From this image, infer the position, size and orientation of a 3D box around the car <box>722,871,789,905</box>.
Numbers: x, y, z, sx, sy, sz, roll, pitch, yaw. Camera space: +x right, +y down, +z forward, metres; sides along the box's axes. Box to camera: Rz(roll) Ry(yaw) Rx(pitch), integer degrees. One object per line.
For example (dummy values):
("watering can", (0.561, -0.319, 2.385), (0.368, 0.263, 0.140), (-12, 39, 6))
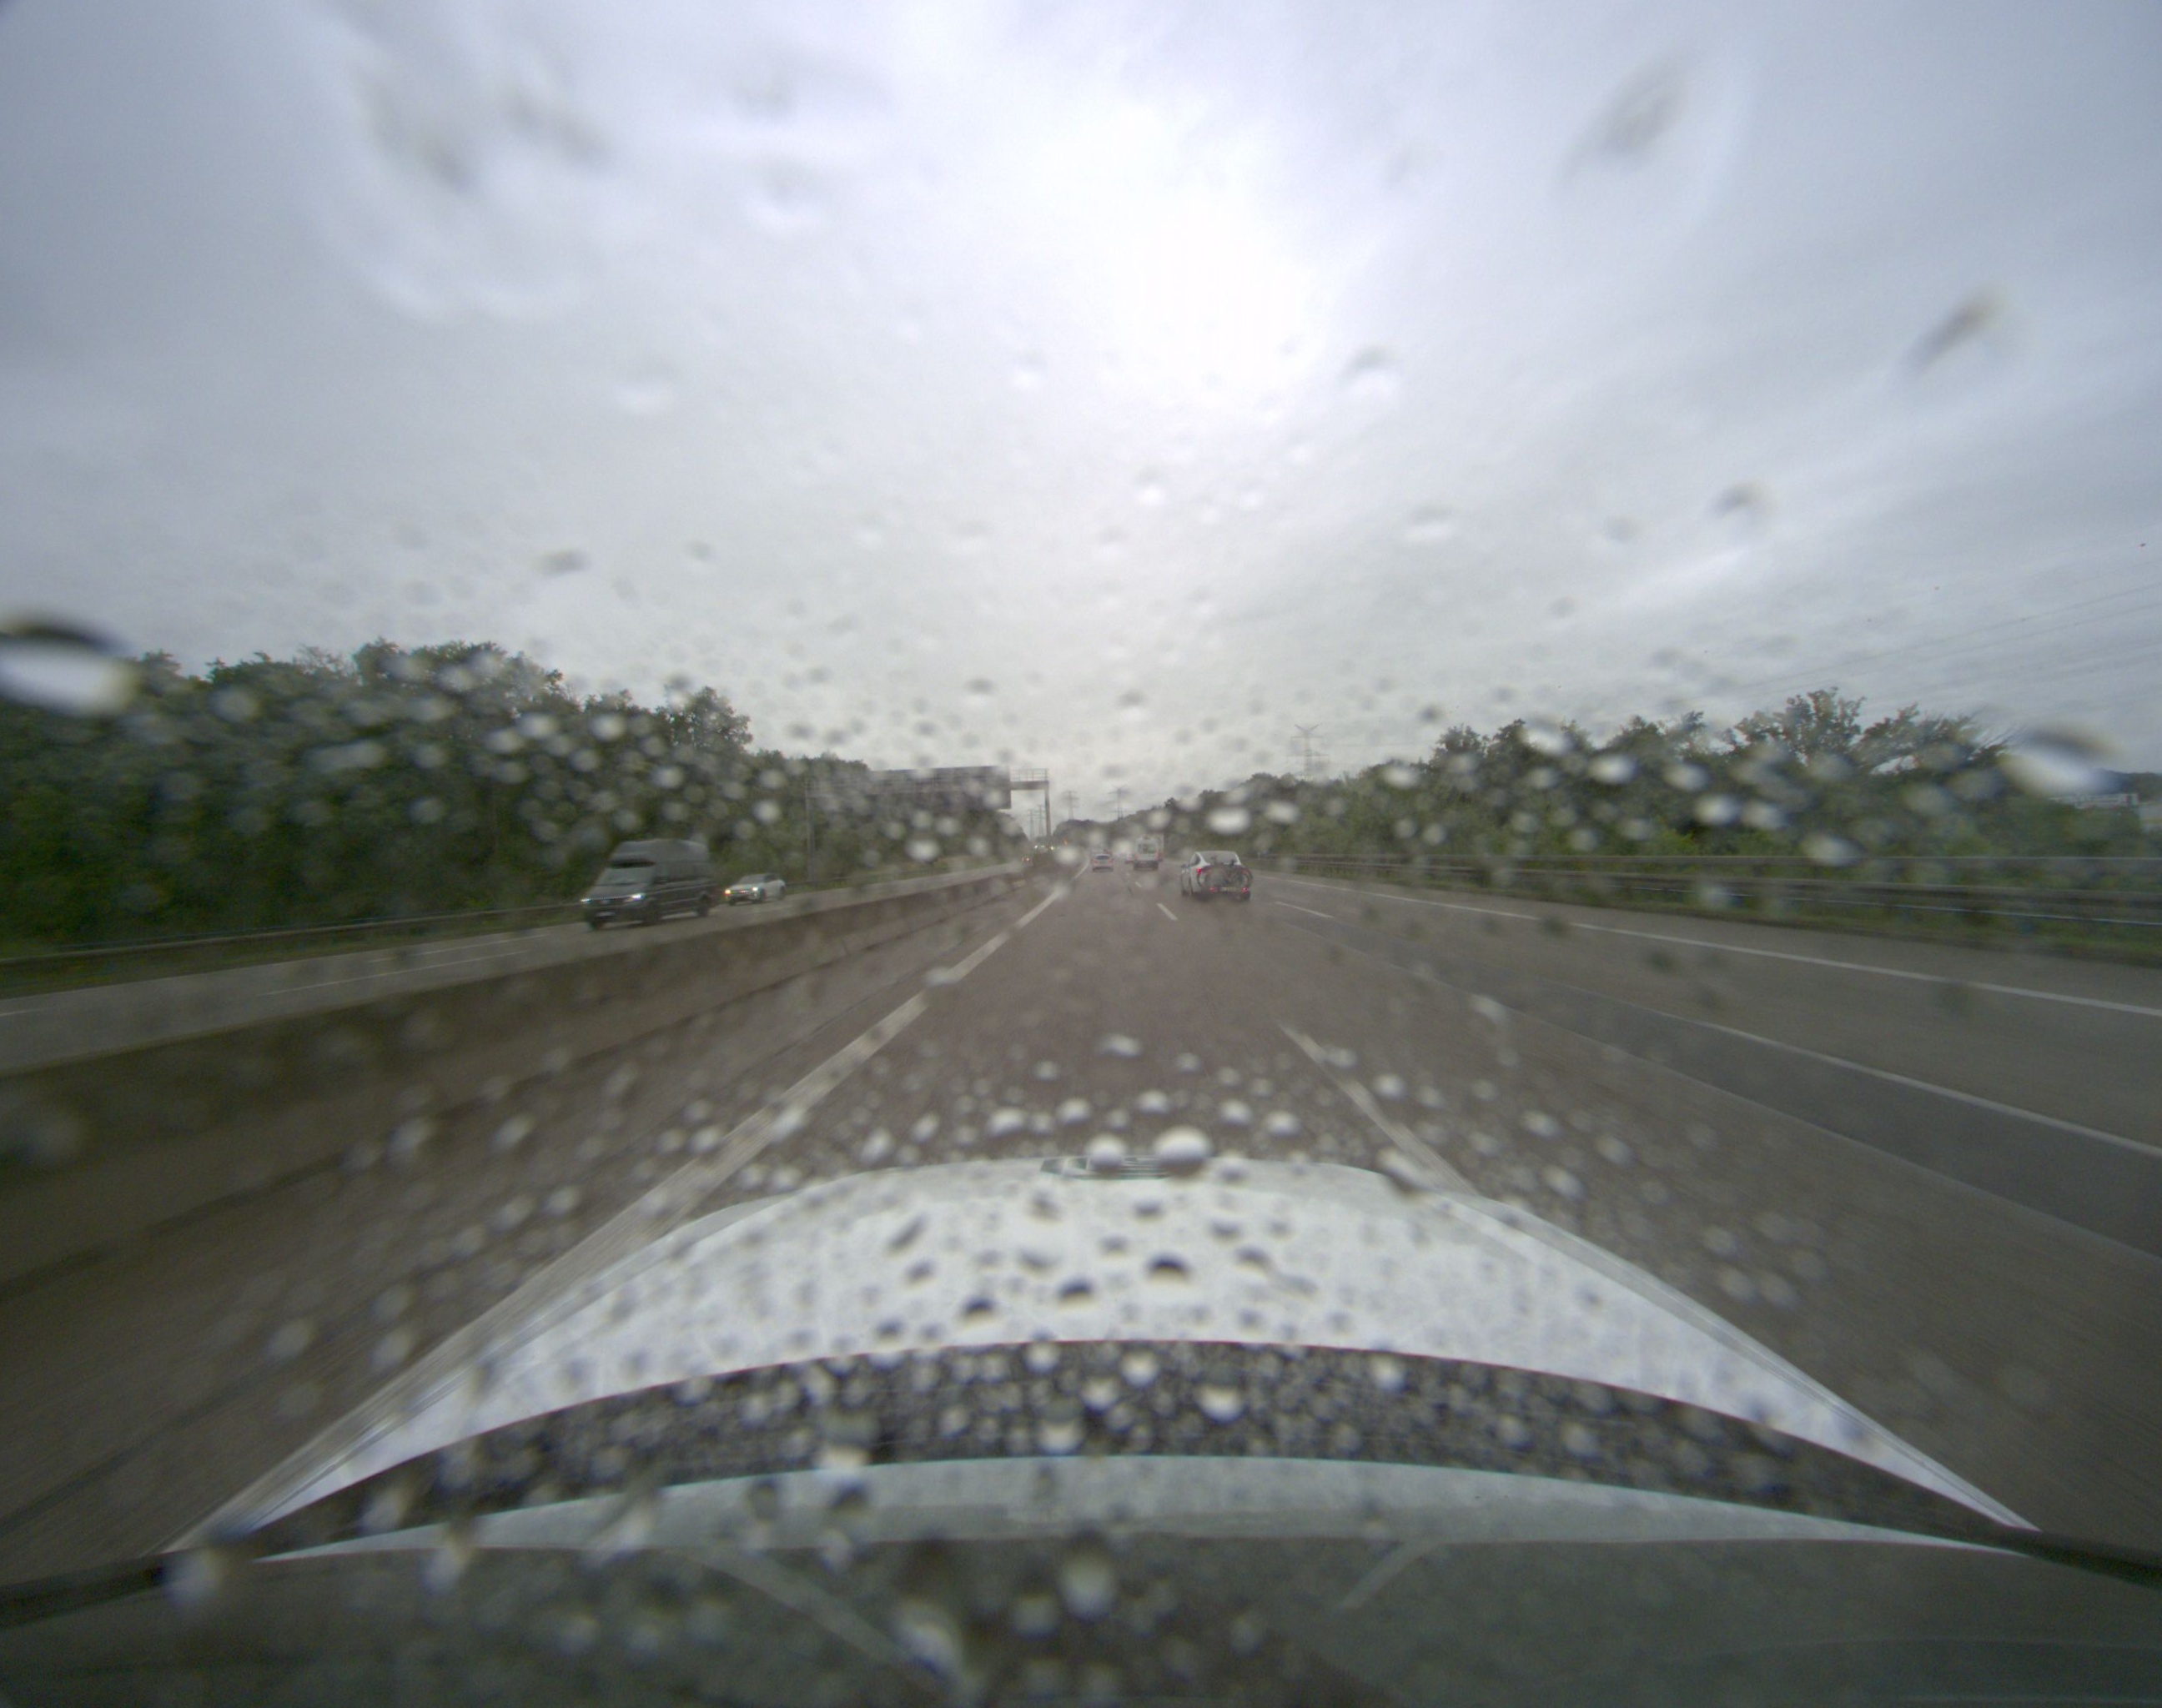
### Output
("car", (-17.274, 1.765, 43.454), (1.709, 1.585, 4.146), (-3, 0, 2))

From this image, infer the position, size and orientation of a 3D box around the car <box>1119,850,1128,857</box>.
("car", (10.550, -0.154, 202.634), (1.987, 1.486, 4.001), (-4, 0, 1))

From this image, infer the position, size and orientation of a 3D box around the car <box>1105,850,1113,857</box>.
("car", (7.336, -0.085, 214.032), (1.986, 1.574, 4.001), (-3, -1, 1))

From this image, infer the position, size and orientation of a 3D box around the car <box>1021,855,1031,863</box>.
("car", (-11.824, 1.090, 174.762), (1.859, 1.442, 3.996), (-3, 0, -3))

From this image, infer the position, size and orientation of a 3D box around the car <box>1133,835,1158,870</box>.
("car", (5.606, -0.104, 71.102), (1.985, 2.864, 4.003), (-3, 0, 3))

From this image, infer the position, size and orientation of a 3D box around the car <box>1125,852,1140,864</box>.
("car", (6.587, 0.511, 104.311), (1.849, 1.422, 4.002), (-1, 0, 2))

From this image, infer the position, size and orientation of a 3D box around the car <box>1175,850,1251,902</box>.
("car", (4.368, 0.674, 27.686), (1.854, 1.568, 4.965), (-1, 0, 1))

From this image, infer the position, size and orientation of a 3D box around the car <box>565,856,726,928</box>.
("car", (-15.122, 1.217, 28.871), (1.986, 2.168, 6.419), (-3, 0, 2))

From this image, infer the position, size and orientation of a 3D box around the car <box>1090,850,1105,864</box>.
("car", (2.100, 0.372, 102.259), (1.839, 1.772, 4.001), (0, 0, 1))

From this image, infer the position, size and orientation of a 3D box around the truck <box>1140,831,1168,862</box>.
("truck", (10.792, -1.104, 122.252), (3.588, 4.332, 13.210), (-2, 0, 3))

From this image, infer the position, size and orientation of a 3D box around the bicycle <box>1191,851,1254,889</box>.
("bicycle", (4.281, 0.474, 24.731), (1.747, 1.090, 0.914), (-1, -1, 1))

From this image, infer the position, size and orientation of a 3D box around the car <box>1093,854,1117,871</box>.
("car", (2.018, 0.710, 68.906), (1.860, 1.288, 4.001), (-3, 0, 1))
